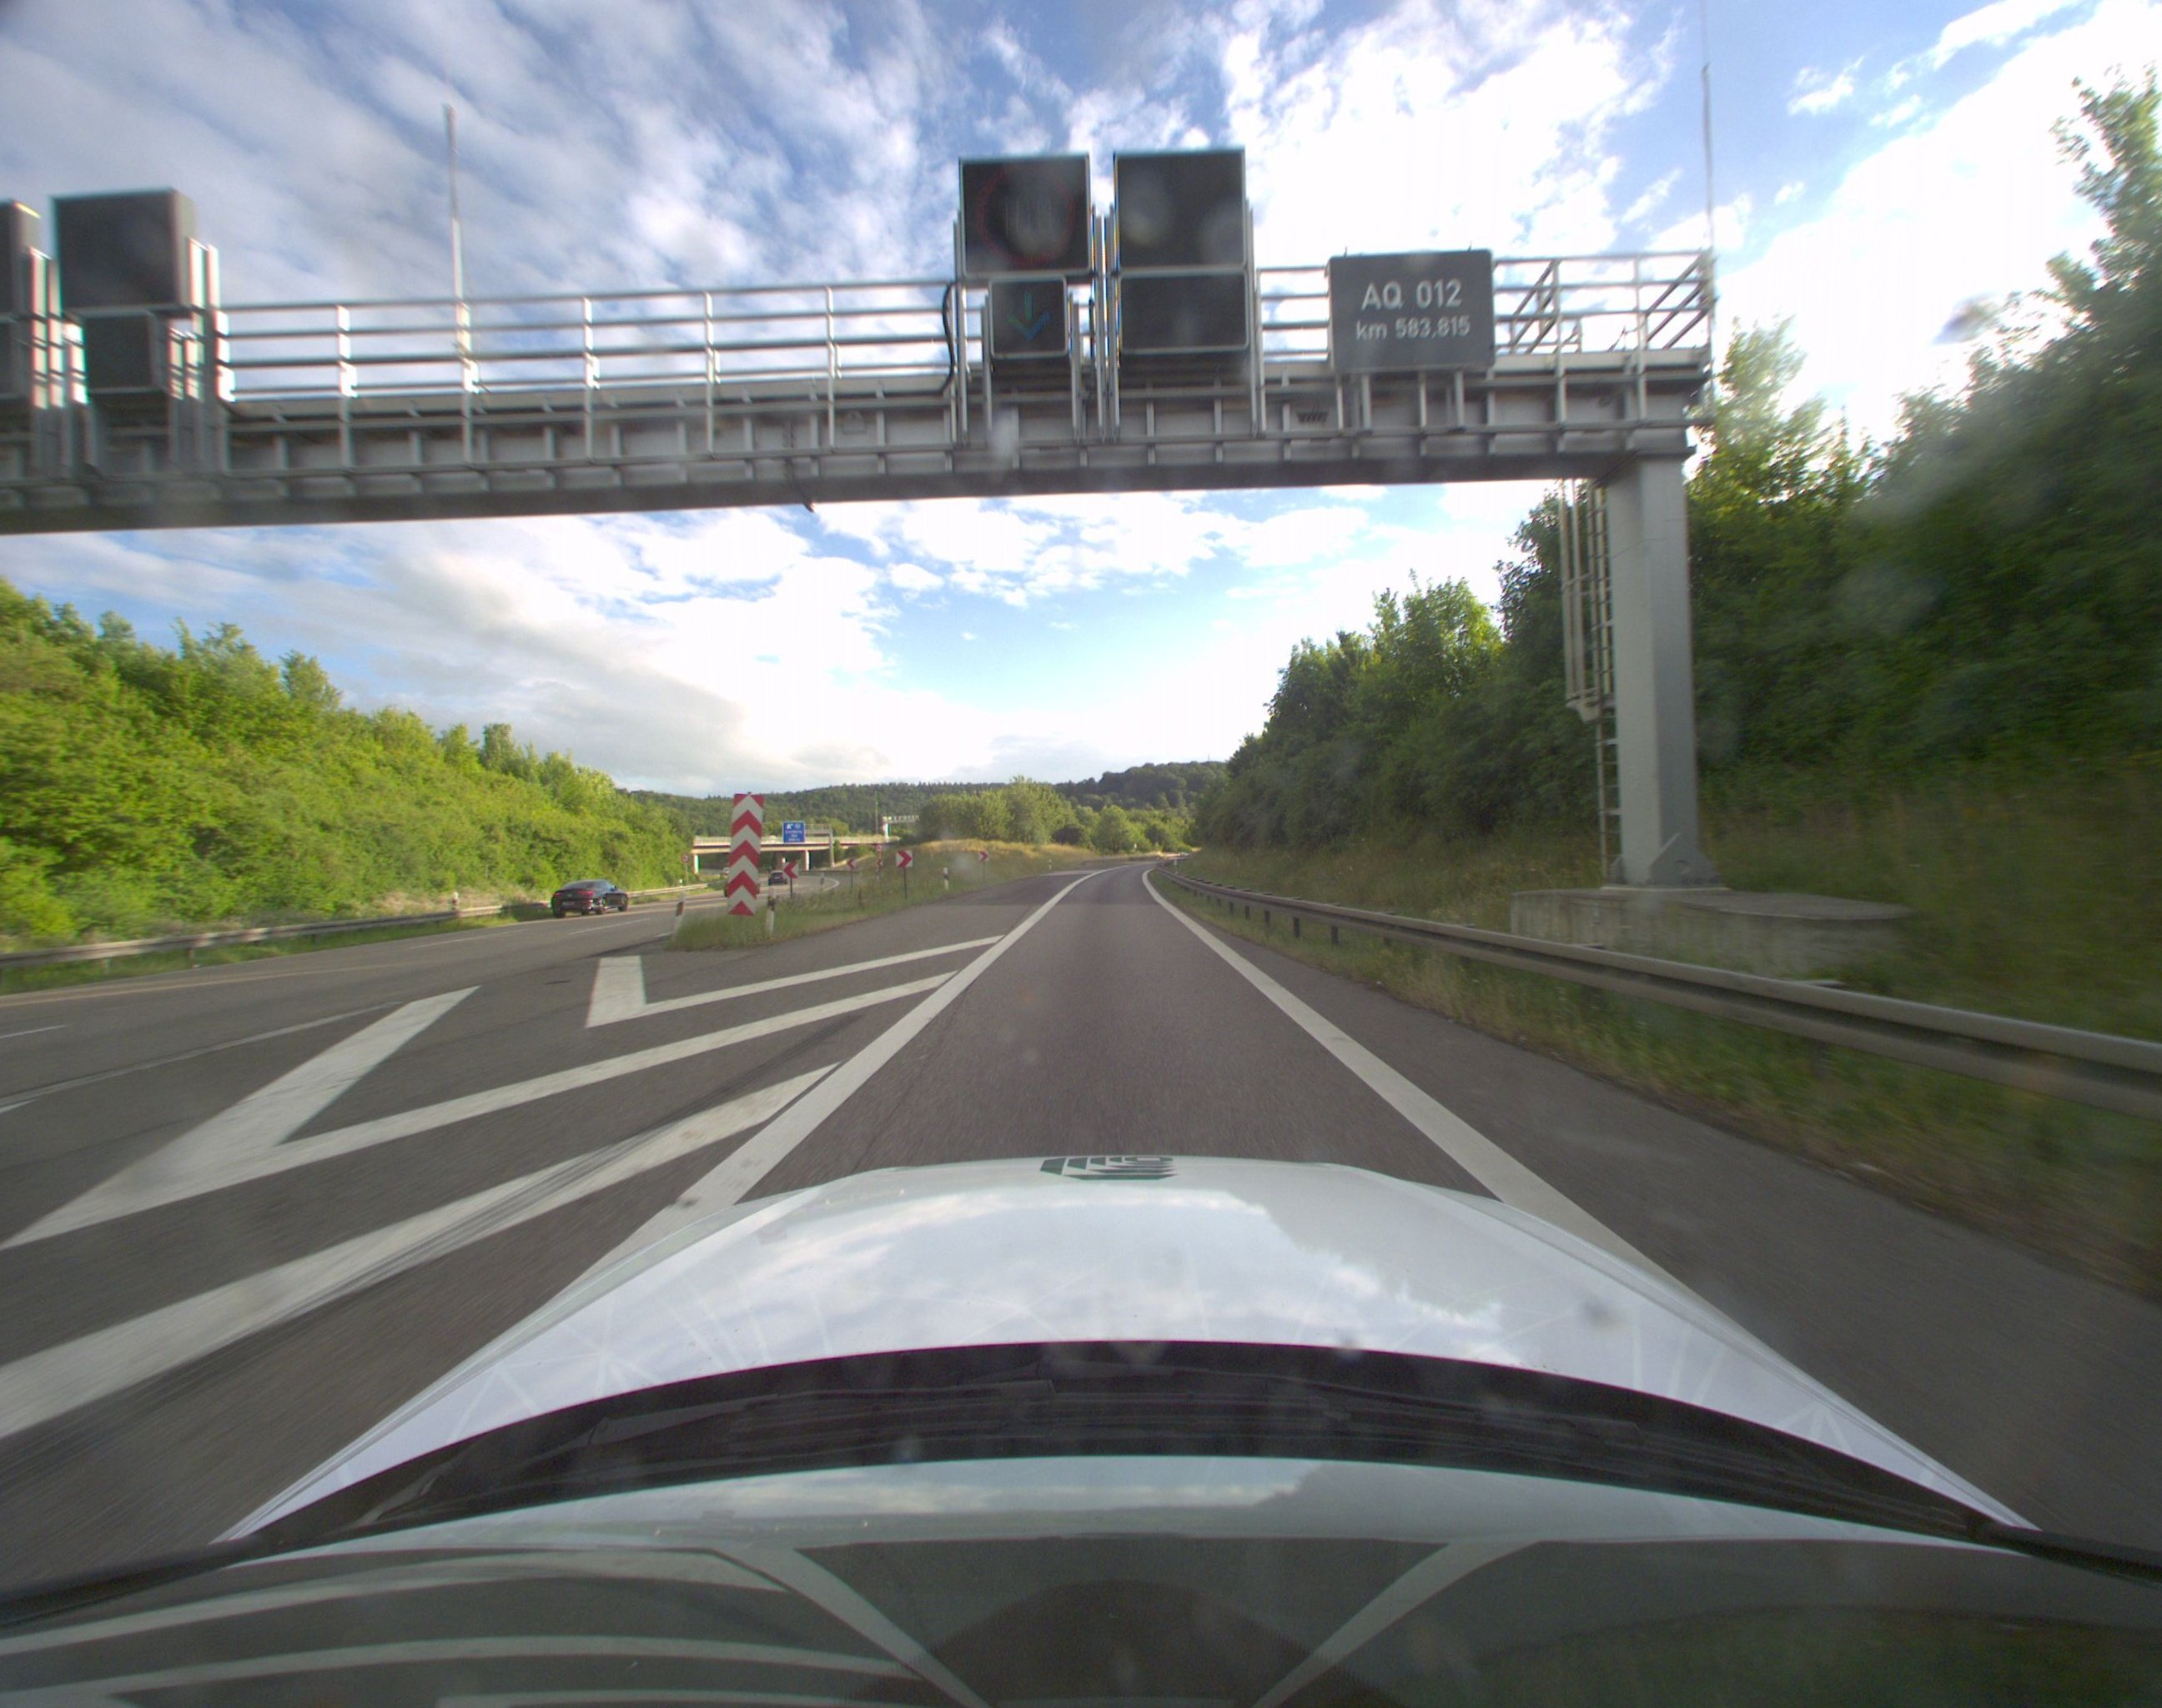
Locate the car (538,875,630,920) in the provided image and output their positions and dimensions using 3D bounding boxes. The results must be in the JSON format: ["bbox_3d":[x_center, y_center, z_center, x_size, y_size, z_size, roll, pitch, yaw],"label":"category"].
[{"bbox_3d":[-21.959,1.884,36.157,1.831,1.635,3.991,-5,0,-6],"label":"car"}]

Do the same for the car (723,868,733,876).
[{"bbox_3d":[-72.454,3.644,167.081,1.744,1.466,3.612,-3,0,-22],"label":"car"}]

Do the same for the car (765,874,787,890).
[{"bbox_3d":[-31.357,2.825,83.768,1.607,1.466,3.509,-5,0,-15],"label":"car"}]

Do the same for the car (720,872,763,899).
[{"bbox_3d":[-21.603,1.959,51.931,1.739,1.466,3.772,-5,0,-11],"label":"car"}]
